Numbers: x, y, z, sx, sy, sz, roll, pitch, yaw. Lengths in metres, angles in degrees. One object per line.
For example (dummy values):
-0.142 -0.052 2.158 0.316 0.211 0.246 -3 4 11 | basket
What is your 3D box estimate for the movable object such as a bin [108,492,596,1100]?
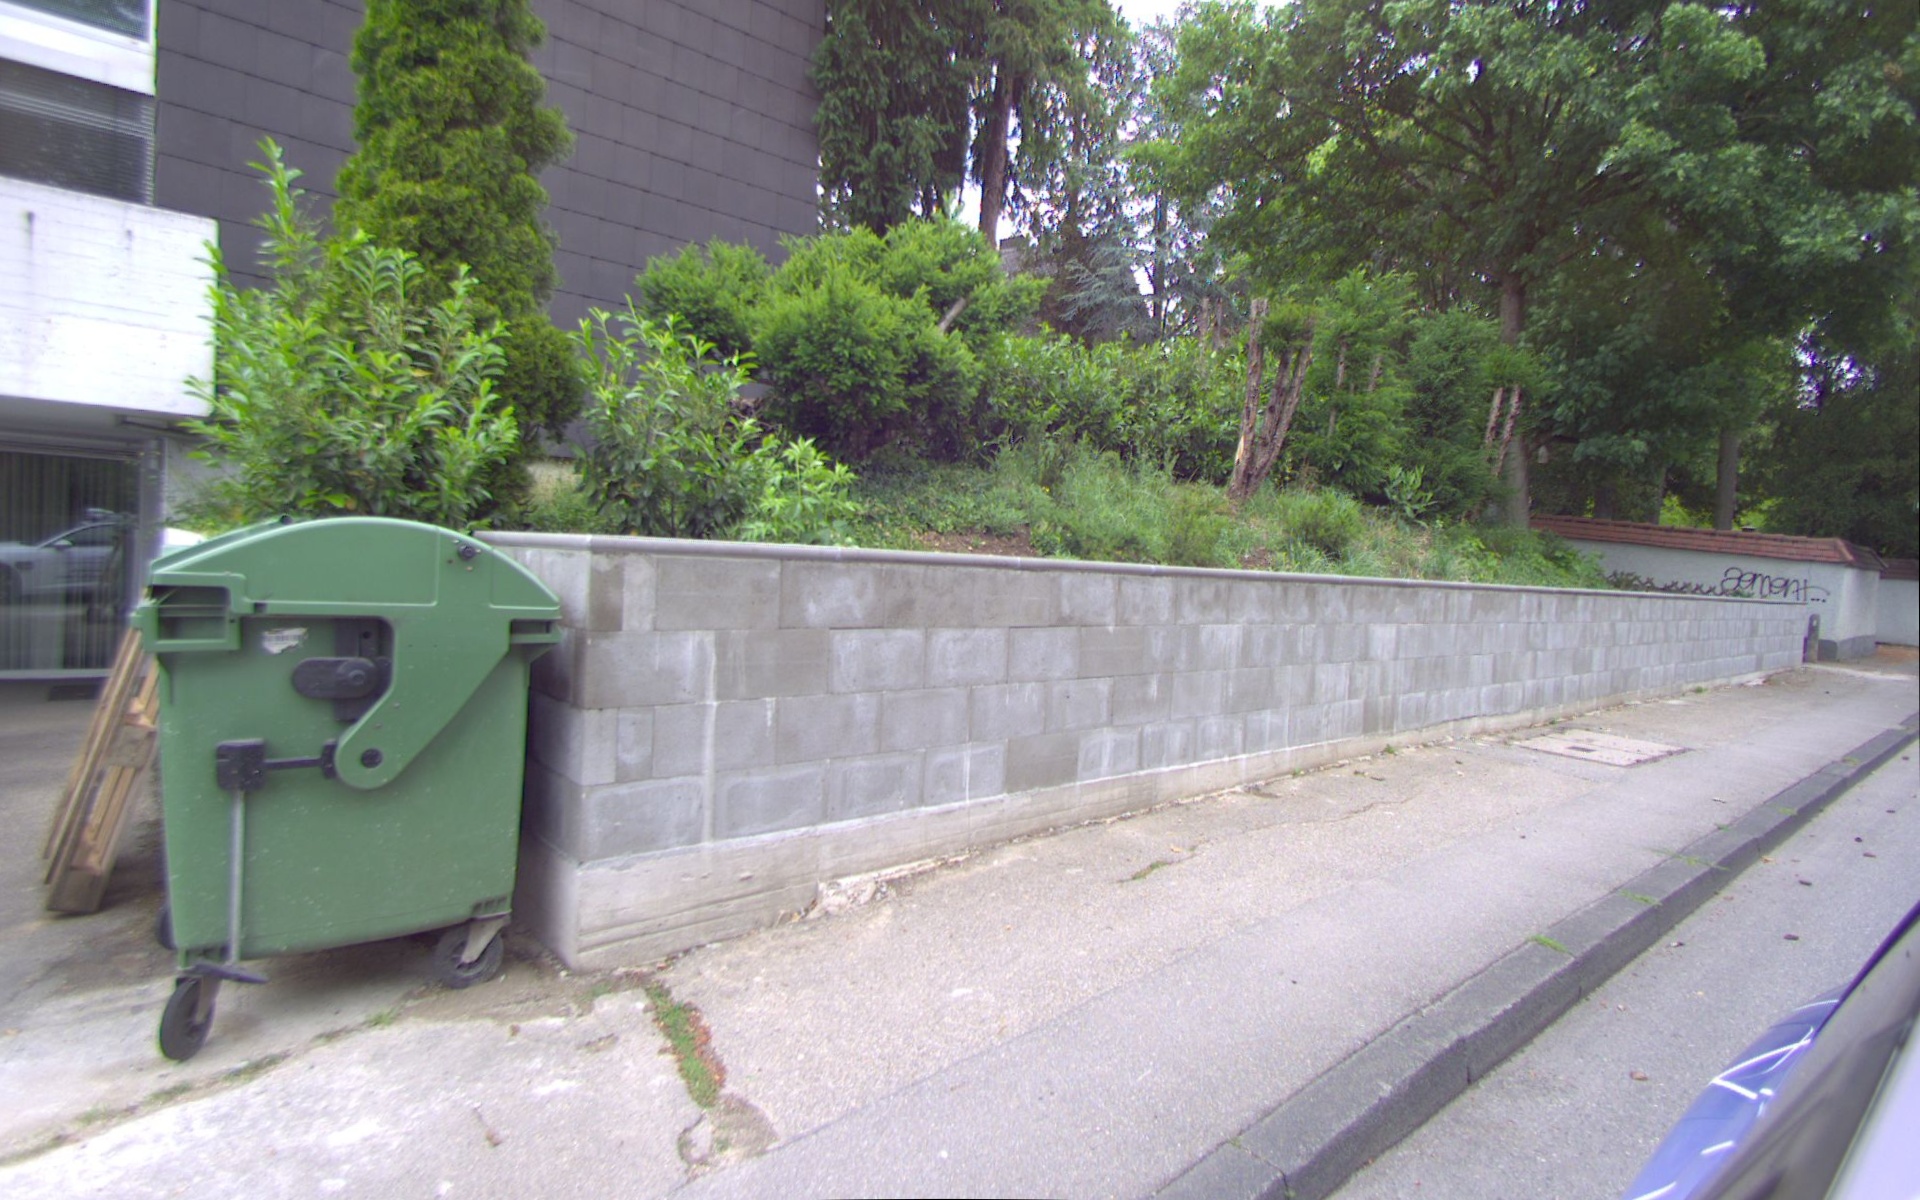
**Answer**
-2.013 0.425 3.293 1.160 1.468 1.303 0 4 -40 | movable object such as a bin
